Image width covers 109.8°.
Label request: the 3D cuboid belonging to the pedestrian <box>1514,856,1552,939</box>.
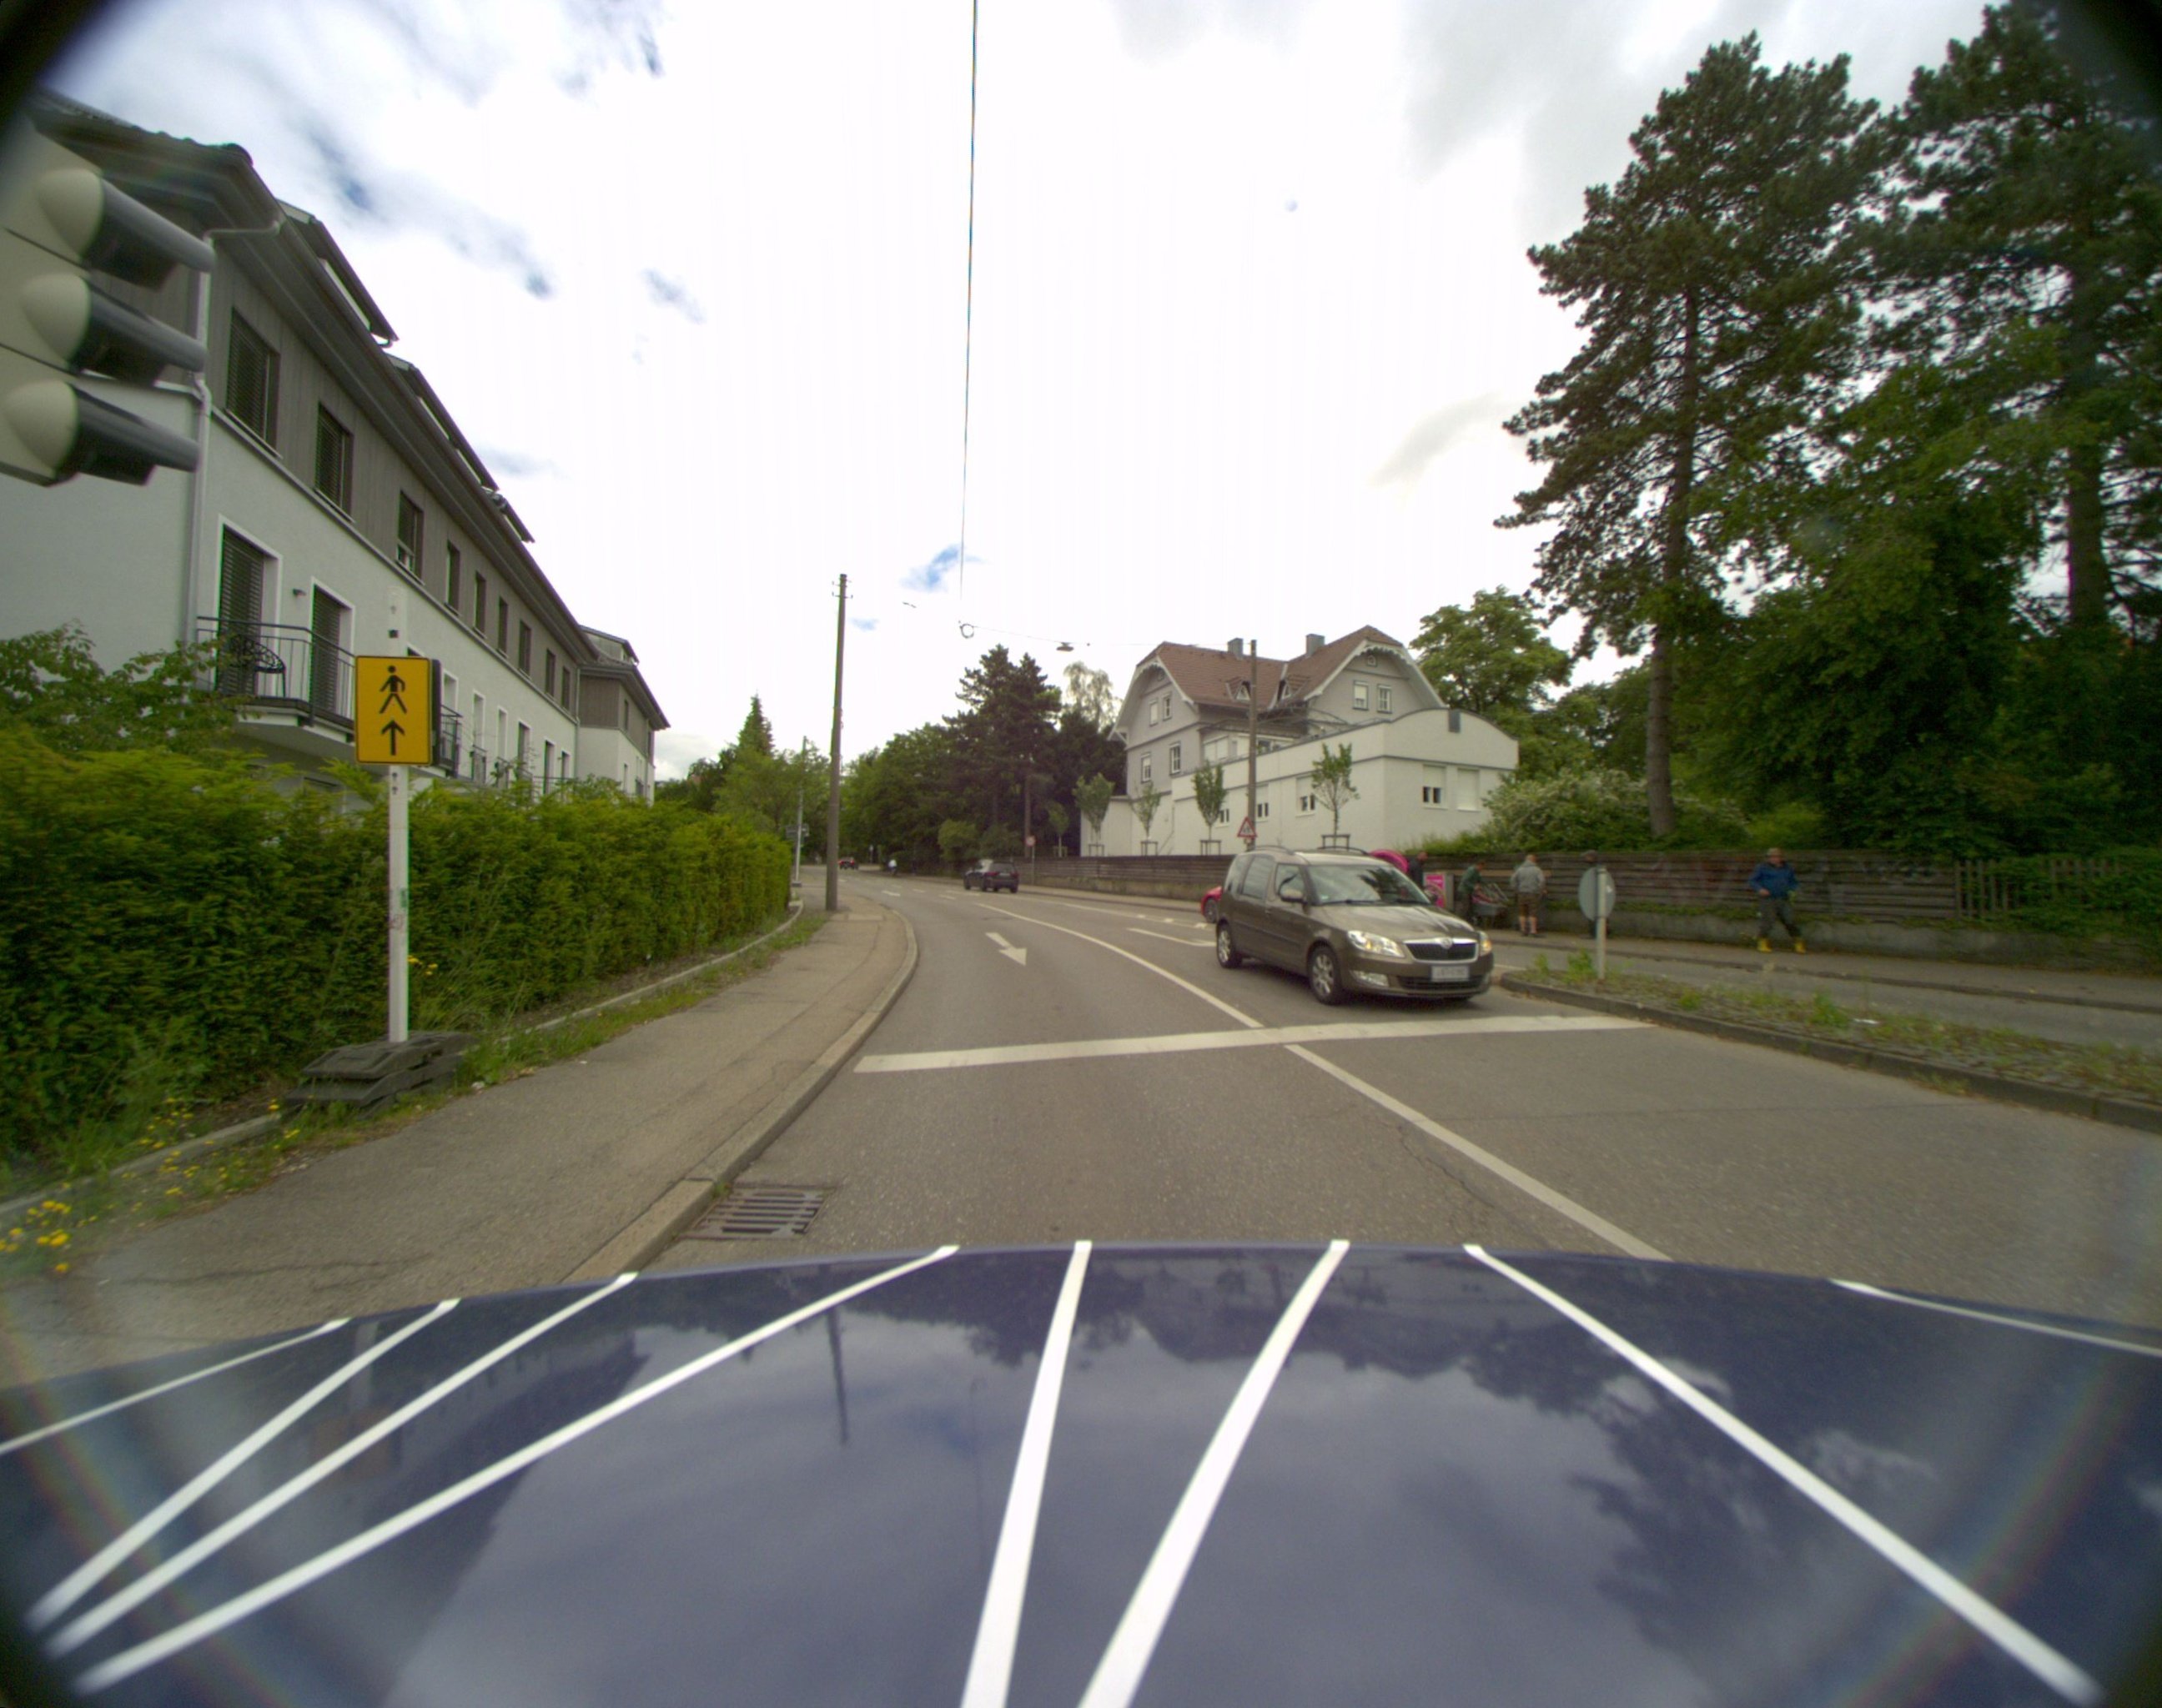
[{"bbox_3d":[10.006,0.941,16.822,0.510,1.802,0.504,1,0,-28],"label":"pedestrian"}]

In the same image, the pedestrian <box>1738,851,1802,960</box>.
[{"bbox_3d":[11.924,0.875,13.150,0.680,1.824,0.611,1,0,-30],"label":"pedestrian"}]

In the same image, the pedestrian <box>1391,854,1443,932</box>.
[{"bbox_3d":[7.926,0.902,17.931,0.882,1.803,0.686,1,0,-28],"label":"pedestrian"}]

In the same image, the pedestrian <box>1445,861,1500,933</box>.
[{"bbox_3d":[9.192,0.985,17.835,0.882,1.643,0.749,1,0,-28],"label":"pedestrian"}]

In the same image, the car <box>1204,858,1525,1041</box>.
[{"bbox_3d":[2.880,0.848,8.735,1.618,1.571,3.997,-1,0,-11],"label":"car"}]

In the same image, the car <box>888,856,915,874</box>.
[{"bbox_3d":[-17.159,1.037,72.519,1.935,1.669,3.563,2,-1,-24],"label":"car"}]

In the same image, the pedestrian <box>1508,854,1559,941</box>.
[{"bbox_3d":[9.458,0.886,15.893,0.613,1.777,0.665,1,0,-28],"label":"pedestrian"}]

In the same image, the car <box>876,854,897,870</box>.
[{"bbox_3d":[-21.899,0.895,85.613,1.684,1.619,3.613,2,-1,-23],"label":"car"}]

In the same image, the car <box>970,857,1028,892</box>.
[{"bbox_3d":[-4.272,1.043,39.101,1.935,1.669,3.563,2,-1,-24],"label":"car"}]

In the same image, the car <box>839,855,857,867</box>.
[{"bbox_3d":[-32.007,0.970,104.351,2.002,1.508,3.993,1,-1,-20],"label":"car"}]

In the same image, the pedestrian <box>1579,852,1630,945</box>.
[{"bbox_3d":[10.545,0.871,15.306,0.605,1.824,0.611,1,0,-29],"label":"pedestrian"}]

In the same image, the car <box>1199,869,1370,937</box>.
[{"bbox_3d":[4.664,1.102,18.053,1.811,1.348,3.992,3,-1,-23],"label":"car"}]
